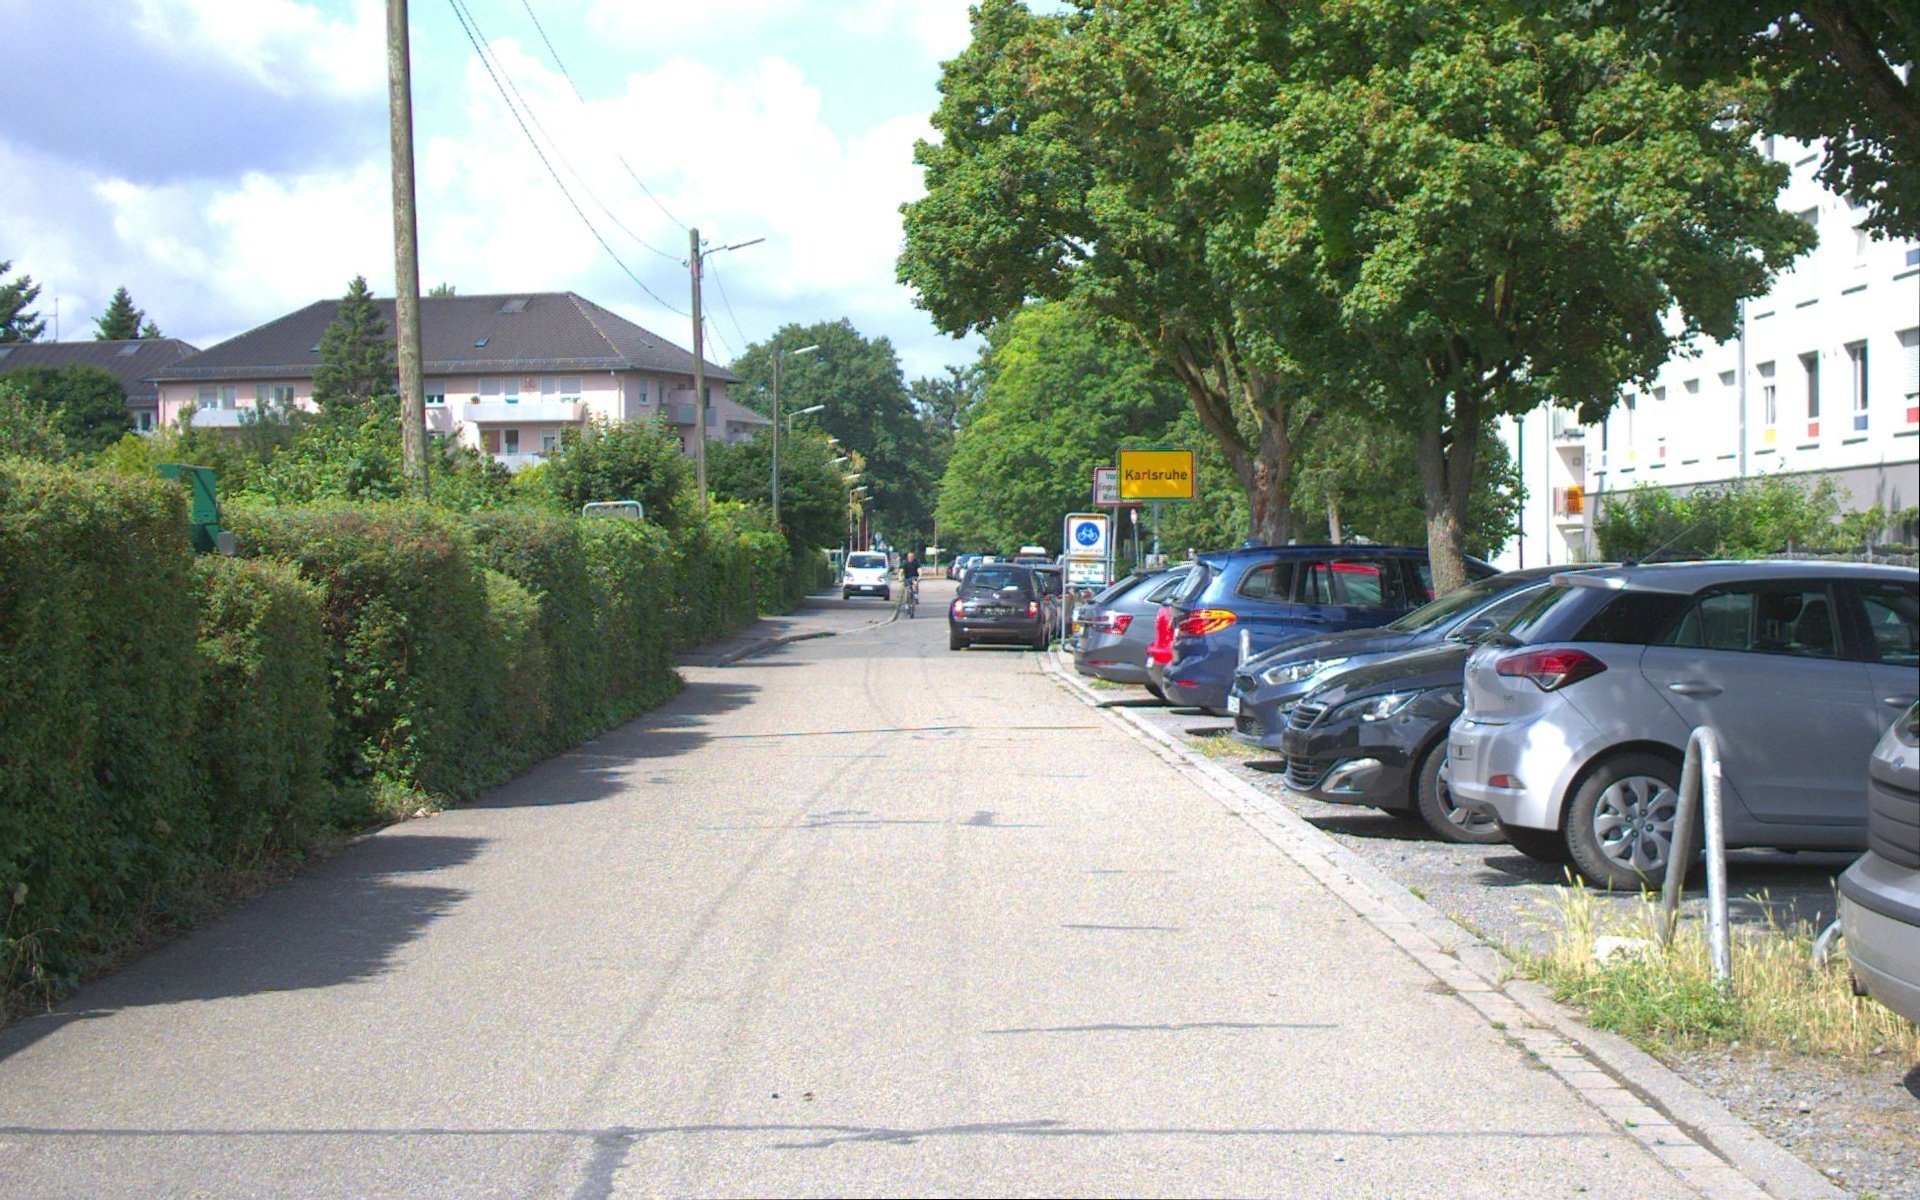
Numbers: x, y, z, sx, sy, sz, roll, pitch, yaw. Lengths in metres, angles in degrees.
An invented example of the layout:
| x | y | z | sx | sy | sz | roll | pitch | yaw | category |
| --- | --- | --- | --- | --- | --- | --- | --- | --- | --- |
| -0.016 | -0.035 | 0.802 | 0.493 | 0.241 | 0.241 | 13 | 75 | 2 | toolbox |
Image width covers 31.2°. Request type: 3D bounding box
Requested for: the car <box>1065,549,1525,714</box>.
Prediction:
| x | y | z | sx | sy | sz | roll | pitch | yaw | category |
| --- | --- | --- | --- | --- | --- | --- | --- | --- | --- |
| 3.445 | 0.312 | 35.887 | 4.548 | 1.573 | 1.809 | 1 | 0 | -2 | car |

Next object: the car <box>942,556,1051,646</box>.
| x | y | z | sx | sy | sz | roll | pitch | yaw | category |
| --- | --- | --- | --- | --- | --- | --- | --- | --- | --- |
| 0.676 | 0.007 | 60.709 | 1.663 | 1.501 | 3.999 | 1 | 0 | 4 | car |

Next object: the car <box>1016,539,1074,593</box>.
| x | y | z | sx | sy | sz | roll | pitch | yaw | category |
| --- | --- | --- | --- | --- | --- | --- | --- | --- | --- |
| 3.165 | -1.261 | 127.152 | 2.058 | 1.919 | 4.540 | 1 | 0 | 2 | car |

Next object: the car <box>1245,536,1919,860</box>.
| x | y | z | sx | sy | sz | roll | pitch | yaw | category |
| --- | --- | --- | --- | --- | --- | --- | --- | --- | --- |
| 3.813 | 0.510 | 18.647 | 4.302 | 1.588 | 2.000 | 1 | 0 | -1 | car |

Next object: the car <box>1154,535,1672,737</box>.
| x | y | z | sx | sy | sz | roll | pitch | yaw | category |
| --- | --- | --- | --- | --- | --- | --- | --- | --- | --- |
| 3.779 | 0.285 | 29.225 | 4.154 | 1.632 | 1.879 | 0 | 0 | 1 | car |

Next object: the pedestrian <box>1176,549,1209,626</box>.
| x | y | z | sx | sy | sz | roll | pitch | yaw | category |
| --- | --- | --- | --- | --- | --- | --- | --- | --- | --- |
| 5.317 | -0.288 | 78.695 | 0.610 | 1.739 | 0.721 | 1 | 0 | 13 | pedestrian |

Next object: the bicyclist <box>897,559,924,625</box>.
| x | y | z | sx | sy | sz | roll | pitch | yaw | category |
| --- | --- | --- | --- | --- | --- | --- | --- | --- | --- |
| -1.394 | -0.233 | 96.961 | 0.659 | 1.846 | 1.043 | -1 | 0 | 2 | bicyclist |

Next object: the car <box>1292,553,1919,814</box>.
| x | y | z | sx | sy | sz | roll | pitch | yaw | category |
| --- | --- | --- | --- | --- | --- | --- | --- | --- | --- |
| 4.111 | 0.496 | 21.567 | 3.812 | 1.487 | 1.902 | 1 | 0 | -1 | car |

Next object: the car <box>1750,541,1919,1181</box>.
| x | y | z | sx | sy | sz | roll | pitch | yaw | category |
| --- | --- | --- | --- | --- | --- | --- | --- | --- | --- |
| 4.318 | 0.656 | 8.985 | 4.065 | 1.506 | 1.957 | 1 | 0 | 2 | car |

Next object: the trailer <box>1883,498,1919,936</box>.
| x | y | z | sx | sy | sz | roll | pitch | yaw | category |
| --- | --- | --- | --- | --- | --- | --- | --- | --- | --- |
| 5.024 | 0.496 | 13.182 | 2.449 | 1.714 | 1.518 | 1 | 1 | -4 | trailer |

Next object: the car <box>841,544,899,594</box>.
| x | y | z | sx | sy | sz | roll | pitch | yaw | category |
| --- | --- | --- | --- | --- | --- | --- | --- | --- | --- |
| -3.364 | -1.155 | 129.128 | 1.903 | 1.808 | 4.000 | 1 | 0 | 2 | car |

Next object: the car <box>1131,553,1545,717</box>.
| x | y | z | sx | sy | sz | roll | pitch | yaw | category |
| --- | --- | --- | --- | --- | --- | --- | --- | --- | --- |
| 3.627 | 0.322 | 33.479 | 3.809 | 1.527 | 1.762 | 0 | 0 | 0 | car |

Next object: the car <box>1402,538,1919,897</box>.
| x | y | z | sx | sy | sz | roll | pitch | yaw | category |
| --- | --- | --- | --- | --- | --- | --- | --- | --- | --- |
| 4.104 | 0.530 | 16.065 | 3.723 | 1.535 | 1.850 | 1 | 0 | -4 | car |

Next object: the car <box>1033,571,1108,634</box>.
| x | y | z | sx | sy | sz | roll | pitch | yaw | category |
| --- | --- | --- | --- | --- | --- | --- | --- | --- | --- |
| 2.630 | 0.048 | 82.549 | 1.663 | 1.430 | 3.542 | 1 | 0 | 0 | car |

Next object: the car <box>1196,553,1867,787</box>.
| x | y | z | sx | sy | sz | roll | pitch | yaw | category |
| --- | --- | --- | --- | --- | --- | --- | --- | --- | --- |
| 3.934 | 0.466 | 24.217 | 4.335 | 1.487 | 1.976 | 1 | 0 | -1 | car |

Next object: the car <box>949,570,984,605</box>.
| x | y | z | sx | sy | sz | roll | pitch | yaw | category |
| --- | --- | --- | --- | --- | --- | --- | --- | --- | --- |
| 0.407 | -0.771 | 208.538 | 1.993 | 2.007 | 4.000 | 1 | 0 | -1 | car |

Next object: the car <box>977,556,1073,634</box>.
| x | y | z | sx | sy | sz | roll | pitch | yaw | category |
| --- | --- | --- | --- | --- | --- | --- | --- | --- | --- |
| 1.398 | -0.113 | 72.506 | 1.664 | 1.547 | 3.636 | 1 | 0 | 7 | car |

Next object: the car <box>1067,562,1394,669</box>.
| x | y | z | sx | sy | sz | roll | pitch | yaw | category |
| --- | --- | --- | --- | --- | --- | --- | --- | --- | --- |
| 3.671 | 0.200 | 46.906 | 4.359 | 1.387 | 1.718 | -1 | 0 | 4 | car |

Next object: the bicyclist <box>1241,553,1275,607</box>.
| x | y | z | sx | sy | sz | roll | pitch | yaw | category |
| --- | --- | --- | --- | --- | --- | --- | --- | --- | --- |
| 10.112 | -0.675 | 116.673 | 0.786 | 1.779 | 0.892 | 2 | 0 | 32 | bicyclist |
